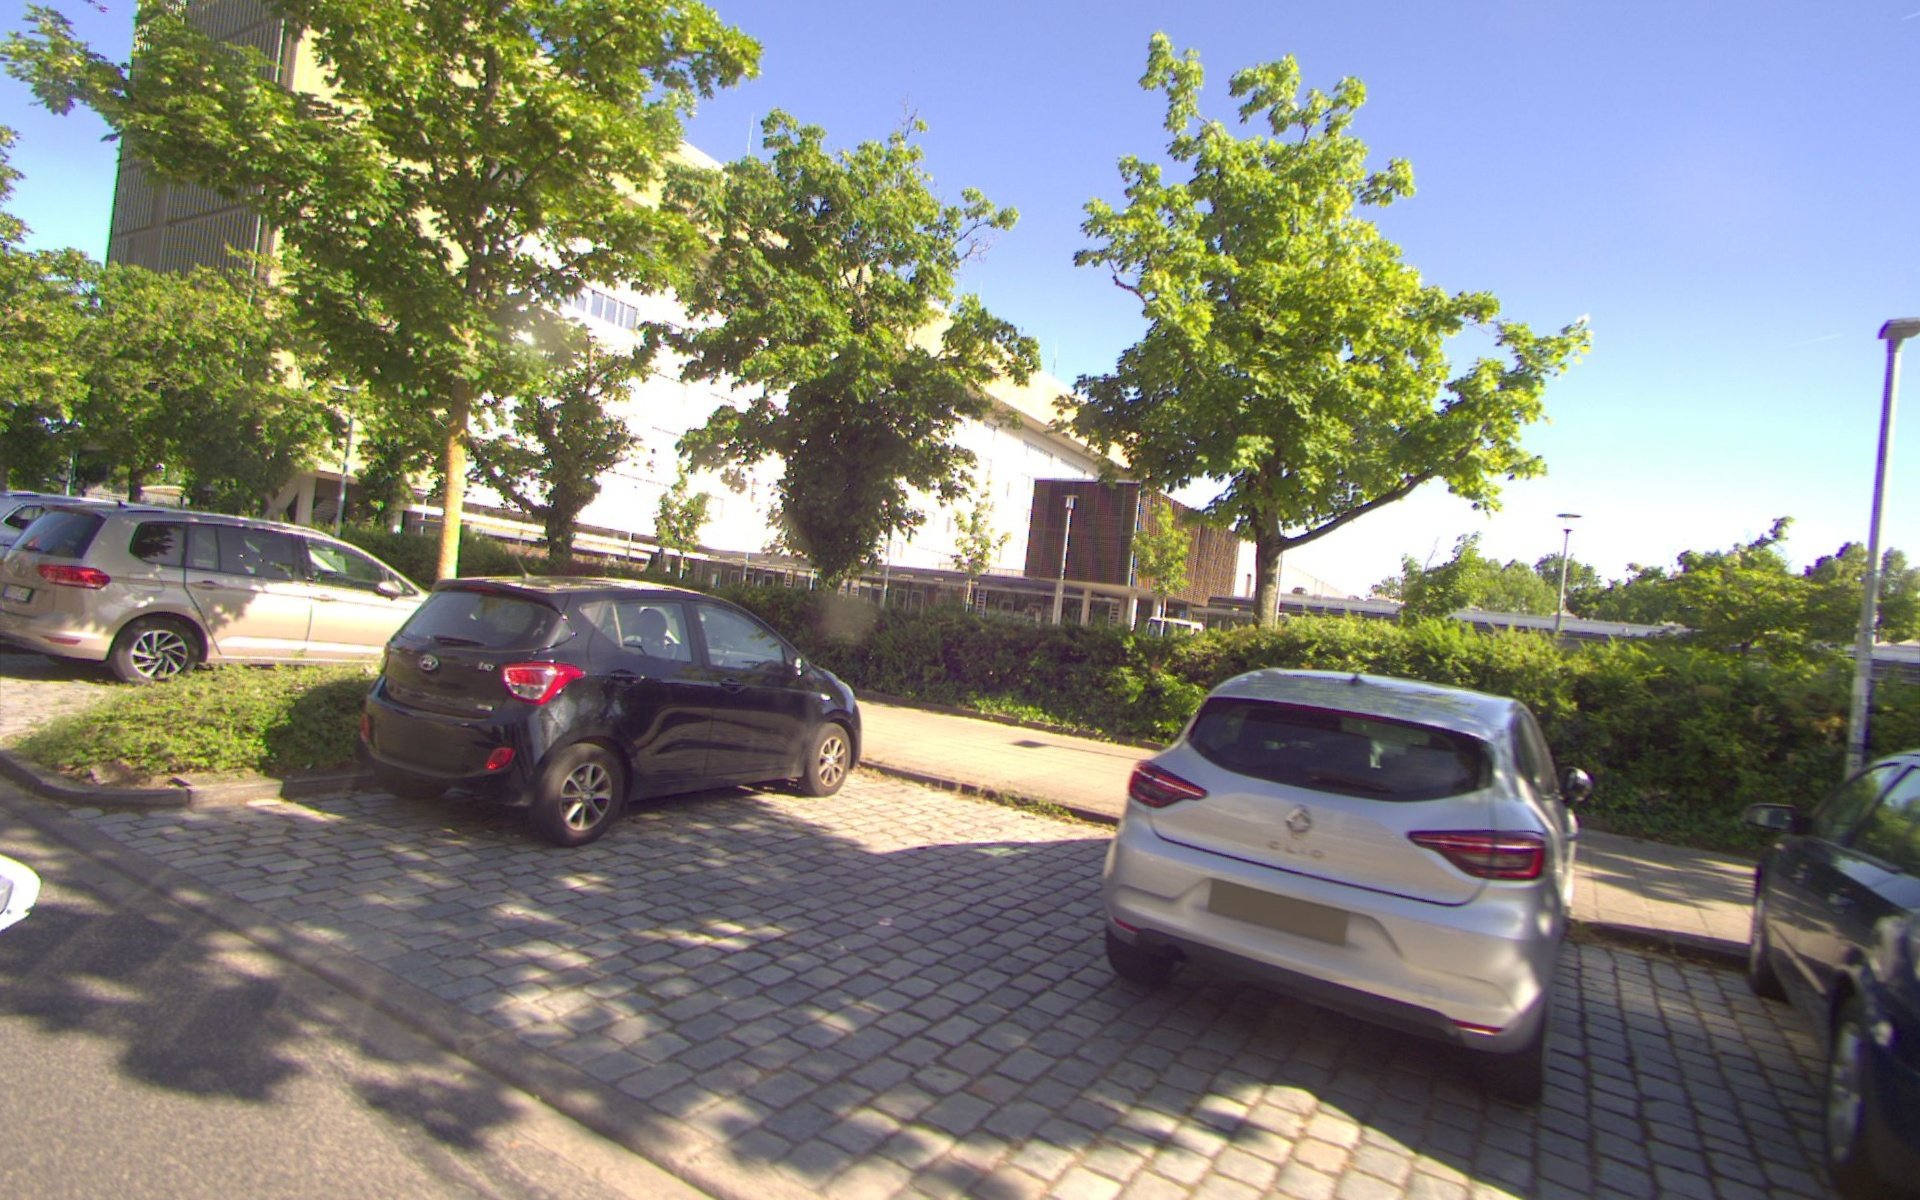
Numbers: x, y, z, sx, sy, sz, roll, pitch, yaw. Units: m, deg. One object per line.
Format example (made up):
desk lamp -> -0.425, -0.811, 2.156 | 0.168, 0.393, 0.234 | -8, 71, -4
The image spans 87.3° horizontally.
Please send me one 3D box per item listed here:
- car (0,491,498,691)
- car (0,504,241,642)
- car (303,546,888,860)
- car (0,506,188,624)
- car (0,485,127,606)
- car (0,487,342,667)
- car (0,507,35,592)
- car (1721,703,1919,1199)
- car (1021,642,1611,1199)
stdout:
car -> -7.492, 0.001, 10.698 | 1.879, 1.627, 4.329 | 6, -1, 28
car -> -12.007, -0.387, 13.359 | 1.707, 1.548, 3.505 | 7, 0, 26
car -> -2.232, 0.602, 7.013 | 1.717, 1.507, 3.458 | 5, -1, 30
car -> -13.840, -0.564, 14.913 | 1.571, 1.548, 3.373 | 6, -1, 23
car -> -17.473, -1.116, 17.446 | 1.945, 1.951, 4.126 | 8, 0, 30
car -> -9.753, -0.255, 11.606 | 1.907, 1.716, 3.906 | 8, 0, 30
car -> -19.787, -1.164, 18.528 | 1.678, 1.568, 3.613 | 8, 0, 30
car -> 4.257, 1.286, 3.760 | 1.812, 1.516, 3.898 | 6, -1, 33
car -> 2.068, 1.103, 5.007 | 1.812, 1.433, 3.736 | 6, -1, 33
